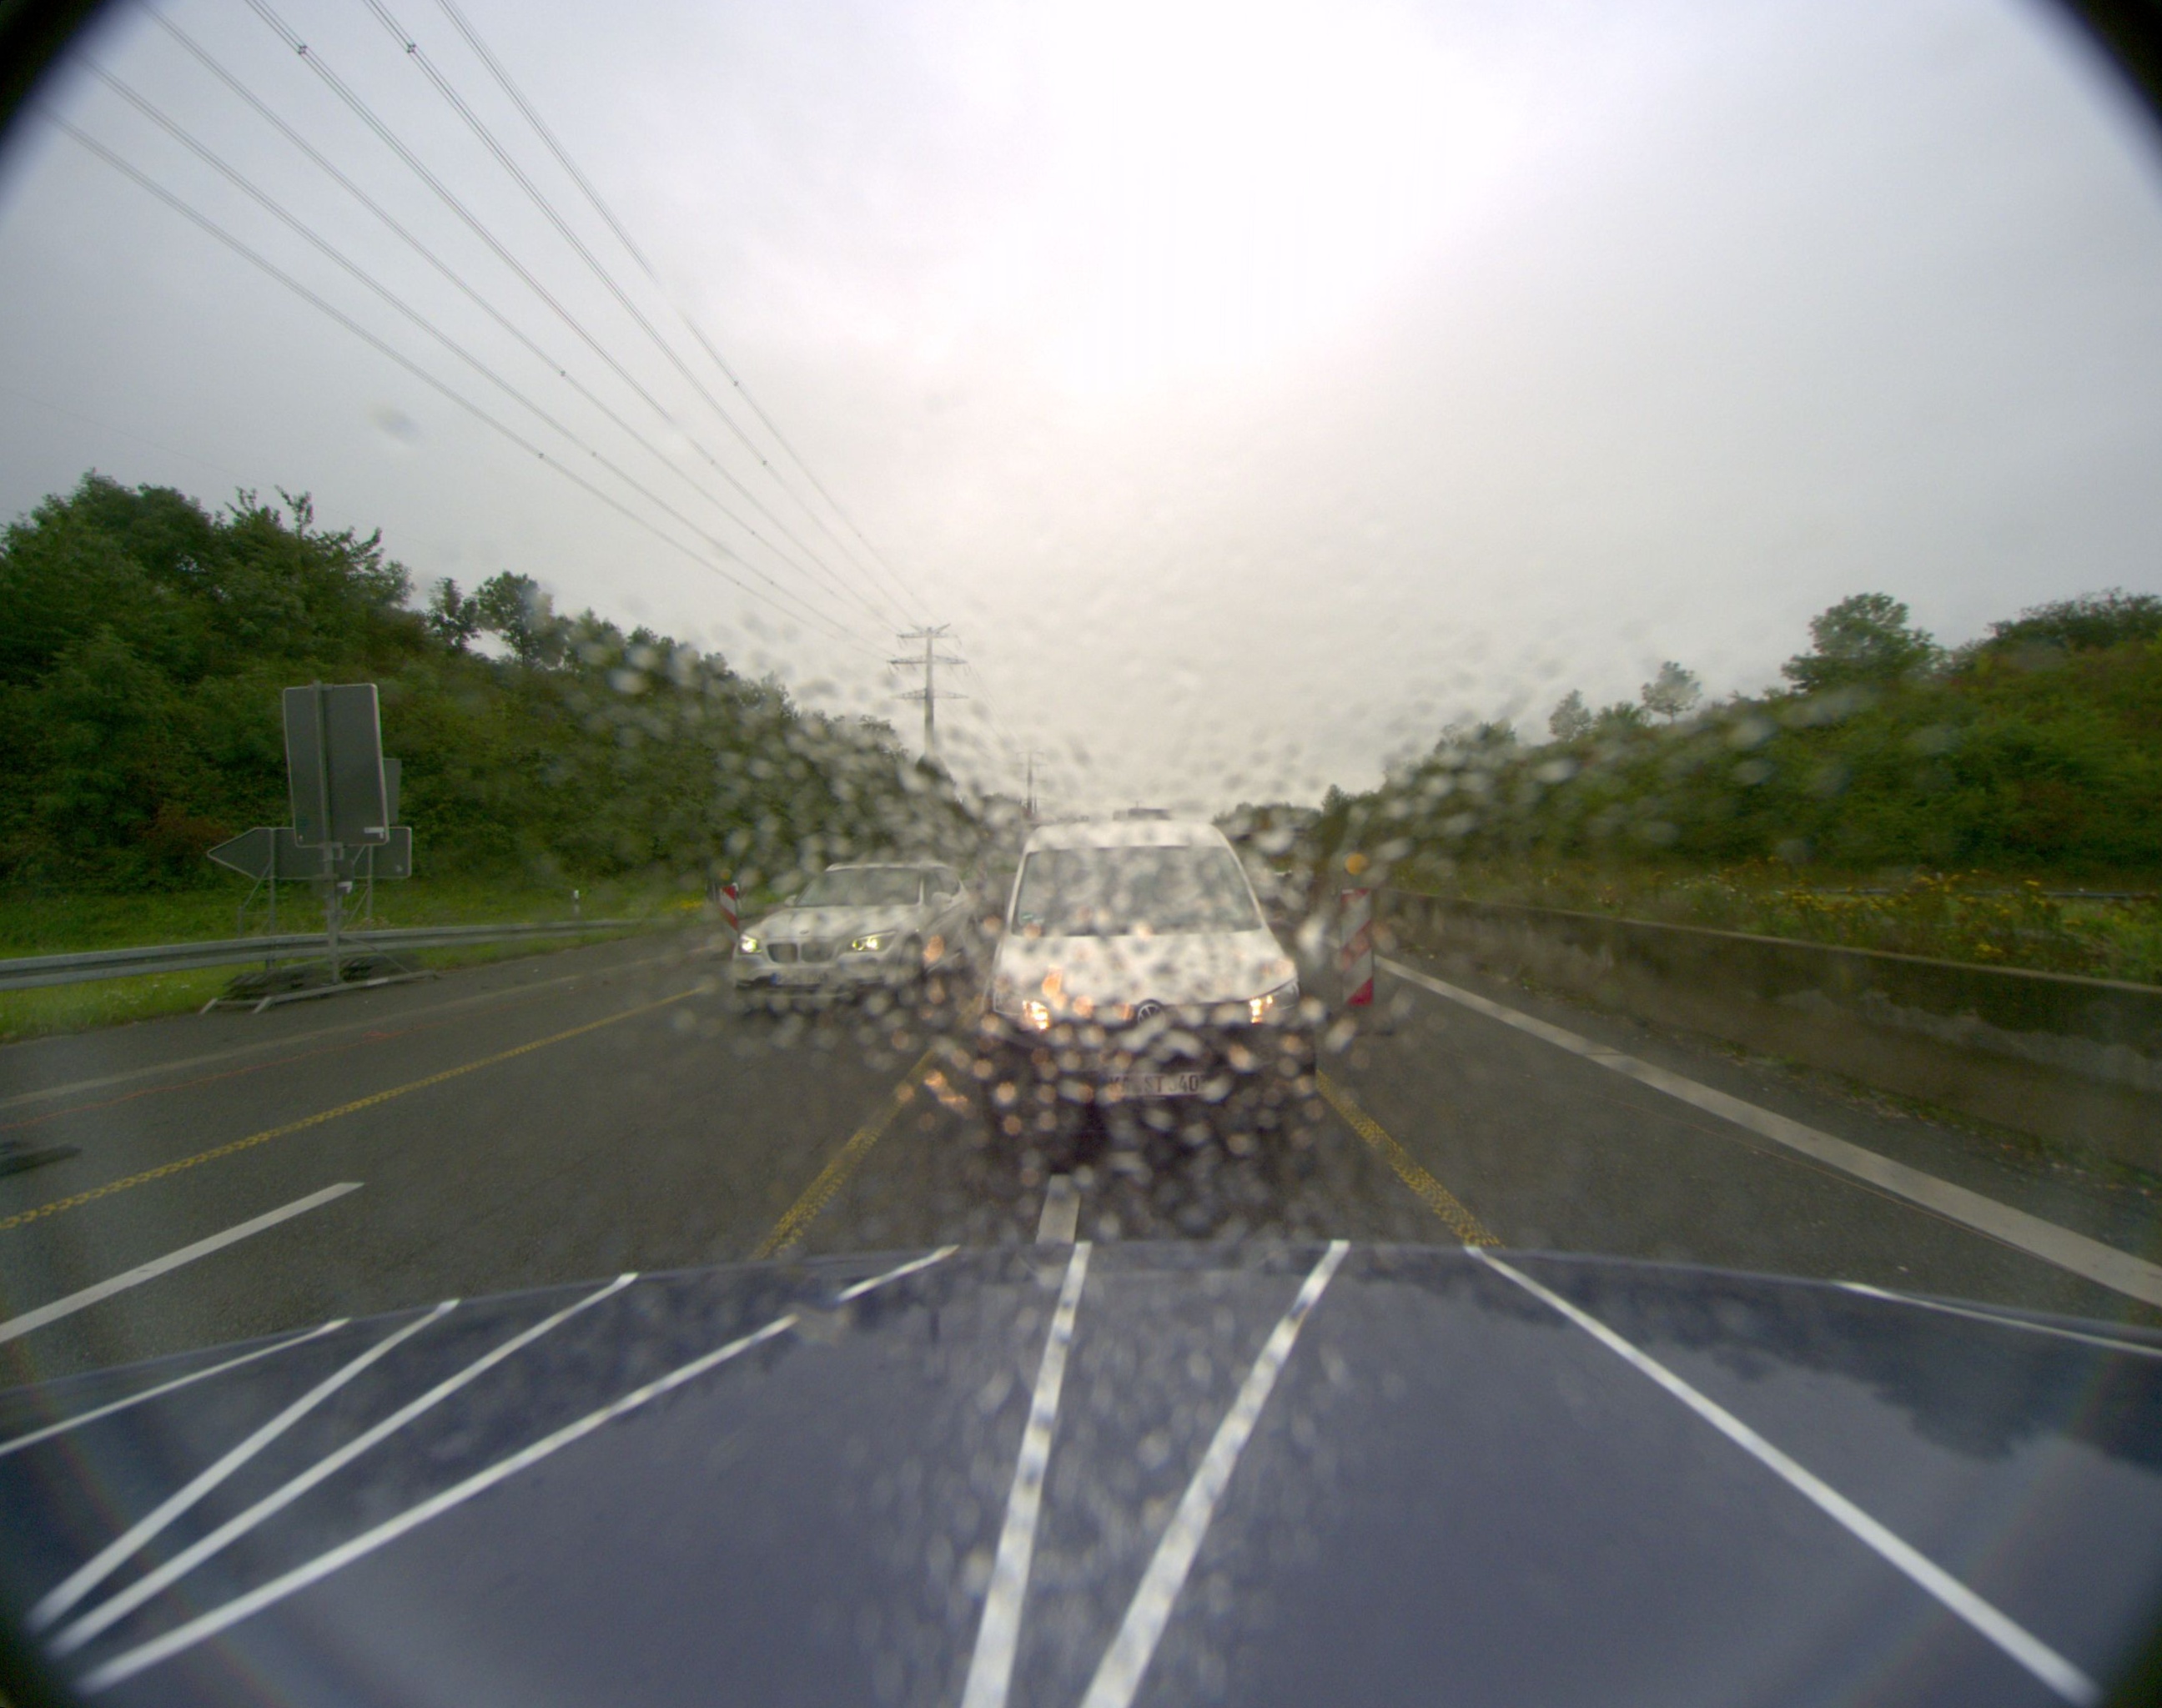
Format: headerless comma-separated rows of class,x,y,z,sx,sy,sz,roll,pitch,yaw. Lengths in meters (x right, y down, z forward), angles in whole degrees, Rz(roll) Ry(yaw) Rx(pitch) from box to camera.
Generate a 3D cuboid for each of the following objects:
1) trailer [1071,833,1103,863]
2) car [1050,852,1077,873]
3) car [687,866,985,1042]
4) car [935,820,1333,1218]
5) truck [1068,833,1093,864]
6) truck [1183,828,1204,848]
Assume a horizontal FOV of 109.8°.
trailer,0.970,-0.930,107.170,2.524,3.812,12.357,-2,1,9
car,-1.449,0.689,64.548,2.051,1.587,5.801,-2,0,1
car,-2.543,0.972,9.128,1.874,1.526,4.198,-1,0,5
car,0.270,0.761,5.829,1.770,1.774,4.647,-2,0,1
truck,-0.026,-0.752,101.081,2.552,3.924,4.002,-2,1,9
truck,26.657,-3.832,181.200,3.414,4.498,17.288,-1,1,3
